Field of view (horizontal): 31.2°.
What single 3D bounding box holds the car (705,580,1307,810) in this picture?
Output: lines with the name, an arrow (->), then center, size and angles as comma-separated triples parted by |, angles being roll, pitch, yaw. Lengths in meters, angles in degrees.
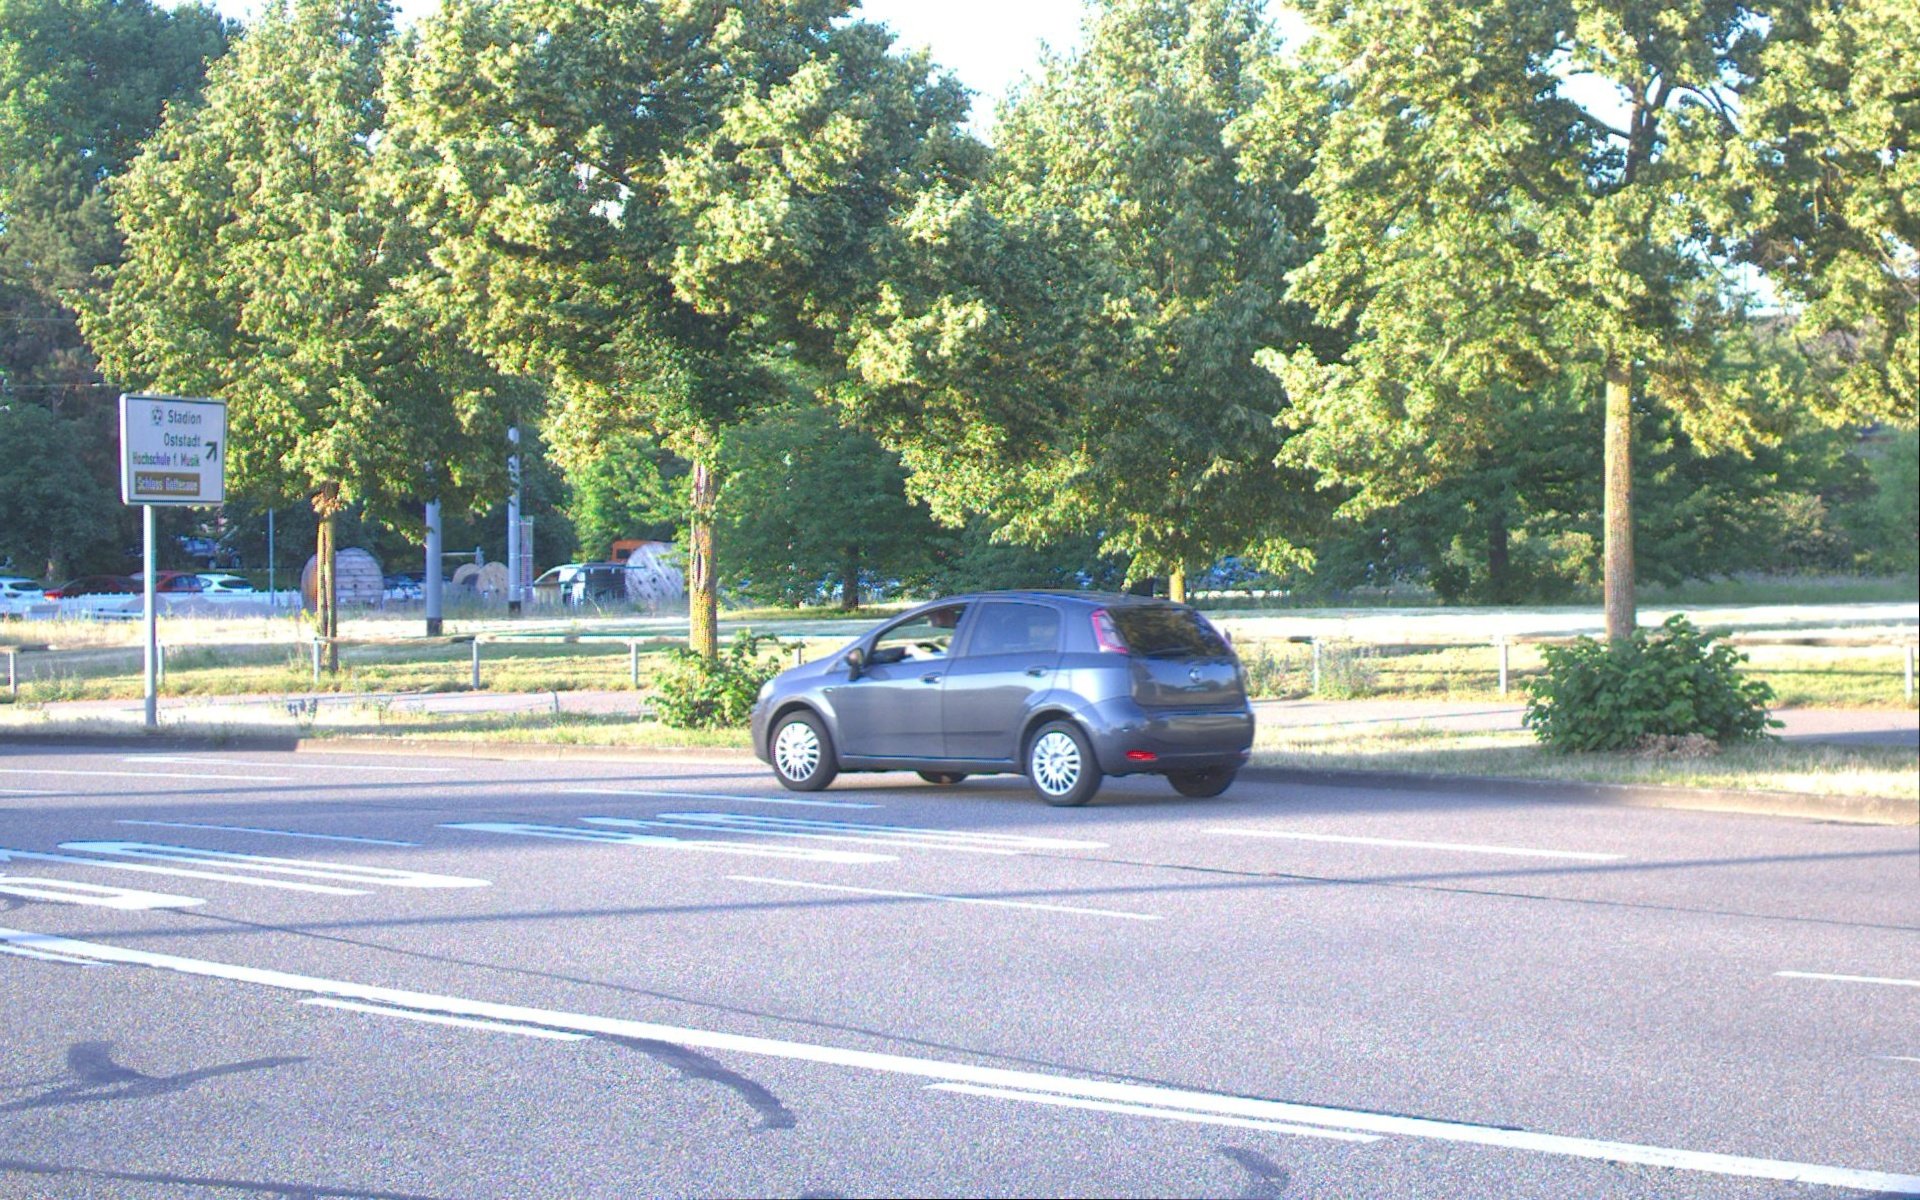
car -> 0.269, 0.613, 24.793 | 4.159, 1.449, 1.863 | 1, 2, 43

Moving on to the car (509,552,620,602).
car -> -13.247, -0.783, 114.904 | 1.734, 1.612, 3.998 | -1, 1, -41

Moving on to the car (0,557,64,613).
car -> -35.252, -0.558, 125.827 | 4.582, 2.007, 2.001 | -1, 1, -9

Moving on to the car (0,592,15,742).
car -> -11.091, 0.636, 31.990 | 4.154, 1.385, 1.866 | 0, 1, 22

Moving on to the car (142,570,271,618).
car -> -25.390, -0.212, 115.845 | 3.994, 1.598, 1.996 | 0, 1, 33

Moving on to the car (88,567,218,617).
car -> -26.793, -0.268, 114.115 | 3.994, 1.598, 1.996 | 0, 1, 33

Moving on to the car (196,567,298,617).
car -> -26.838, -0.328, 129.324 | 1.994, 1.746, 4.597 | -1, 2, -37

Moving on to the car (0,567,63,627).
car -> -33.166, -0.101, 117.694 | 4.582, 2.007, 2.001 | -1, 1, -9

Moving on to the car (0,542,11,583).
car -> -42.433, -1.585, 145.384 | 3.988, 1.700, 2.000 | 0, 1, 7
